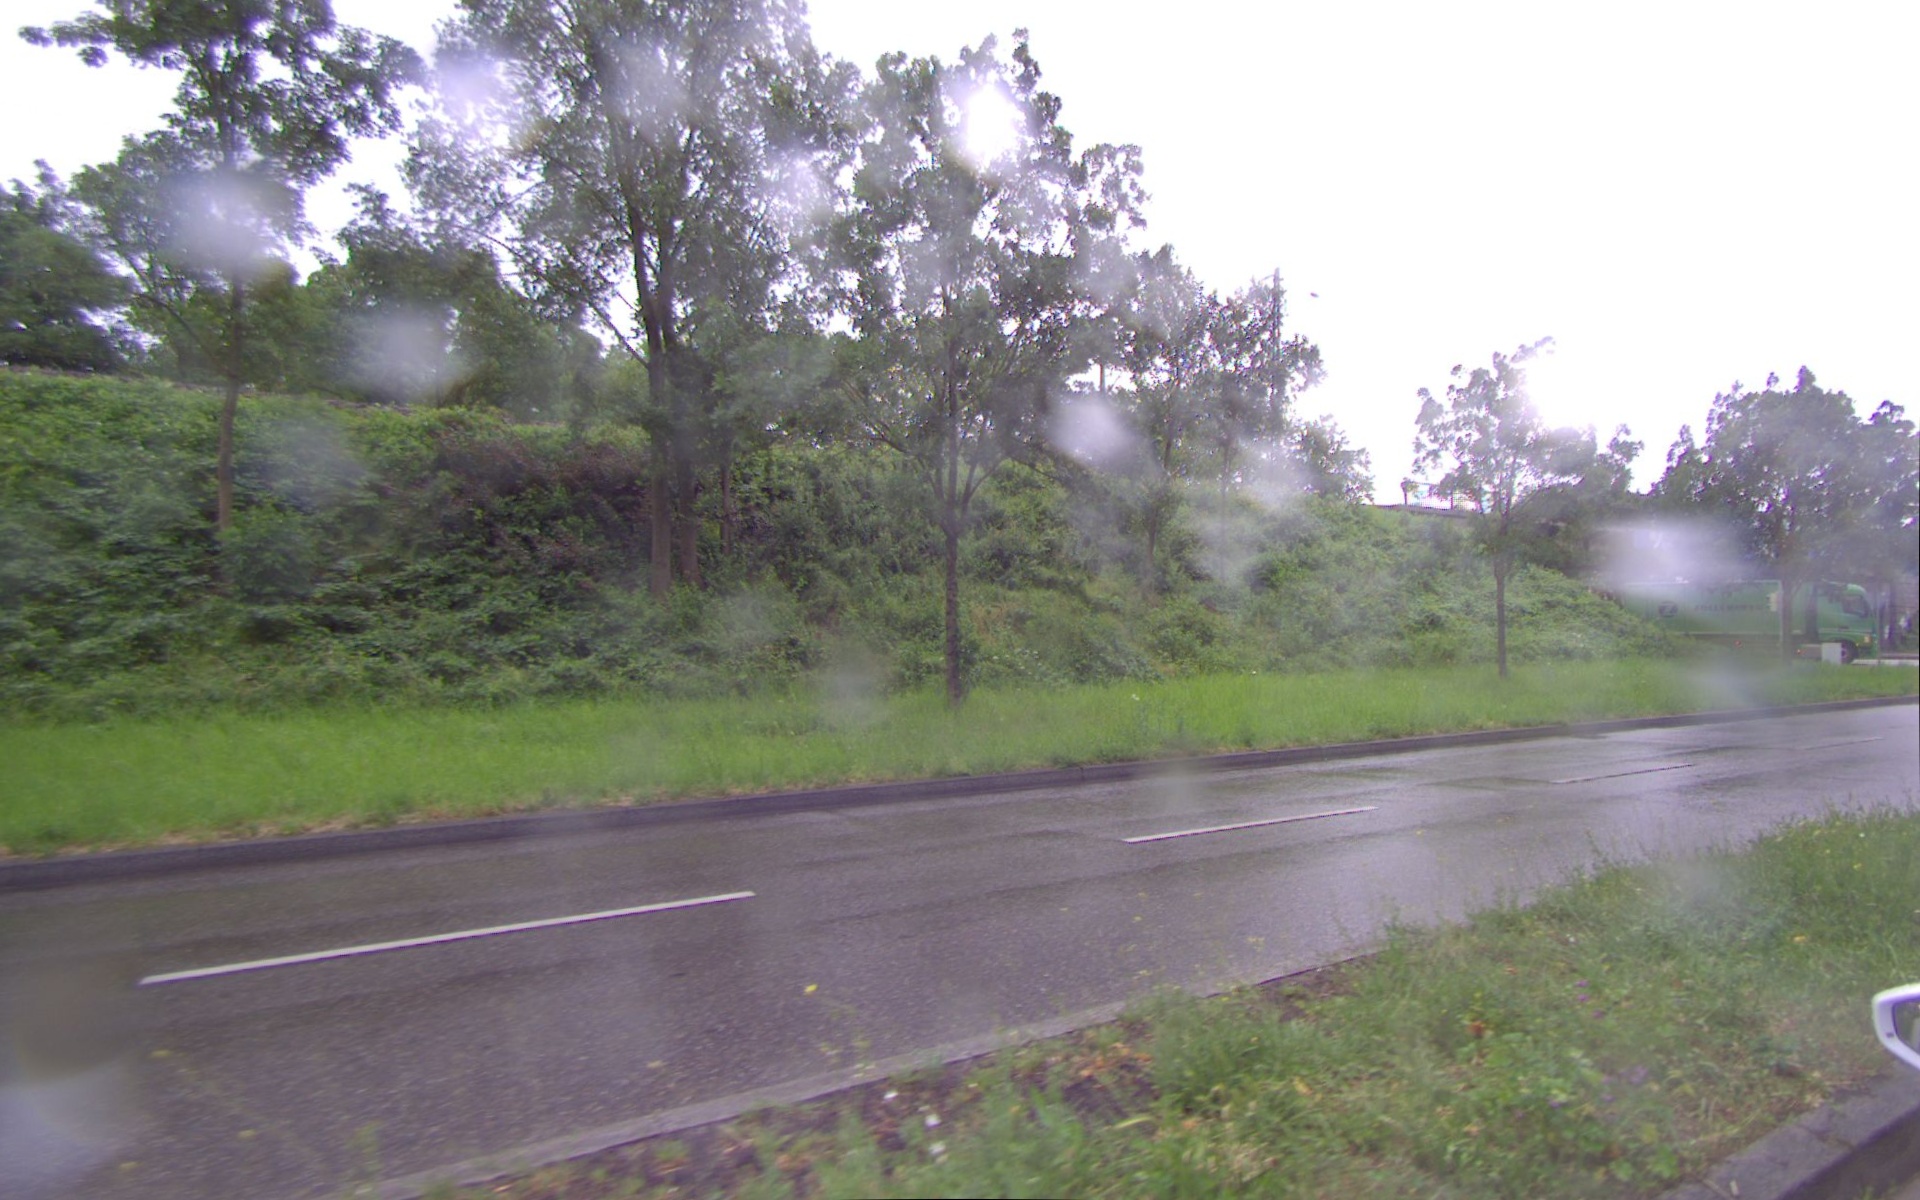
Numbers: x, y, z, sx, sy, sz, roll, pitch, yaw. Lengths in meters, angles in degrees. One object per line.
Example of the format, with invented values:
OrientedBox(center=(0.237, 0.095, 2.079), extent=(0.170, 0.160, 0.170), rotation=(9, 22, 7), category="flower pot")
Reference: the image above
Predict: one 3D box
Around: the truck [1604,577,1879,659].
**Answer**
OrientedBox(center=(36.978, 0.801, 48.088), extent=(9.947, 3.497, 2.657), rotation=(1, -1, 23), category="truck")
